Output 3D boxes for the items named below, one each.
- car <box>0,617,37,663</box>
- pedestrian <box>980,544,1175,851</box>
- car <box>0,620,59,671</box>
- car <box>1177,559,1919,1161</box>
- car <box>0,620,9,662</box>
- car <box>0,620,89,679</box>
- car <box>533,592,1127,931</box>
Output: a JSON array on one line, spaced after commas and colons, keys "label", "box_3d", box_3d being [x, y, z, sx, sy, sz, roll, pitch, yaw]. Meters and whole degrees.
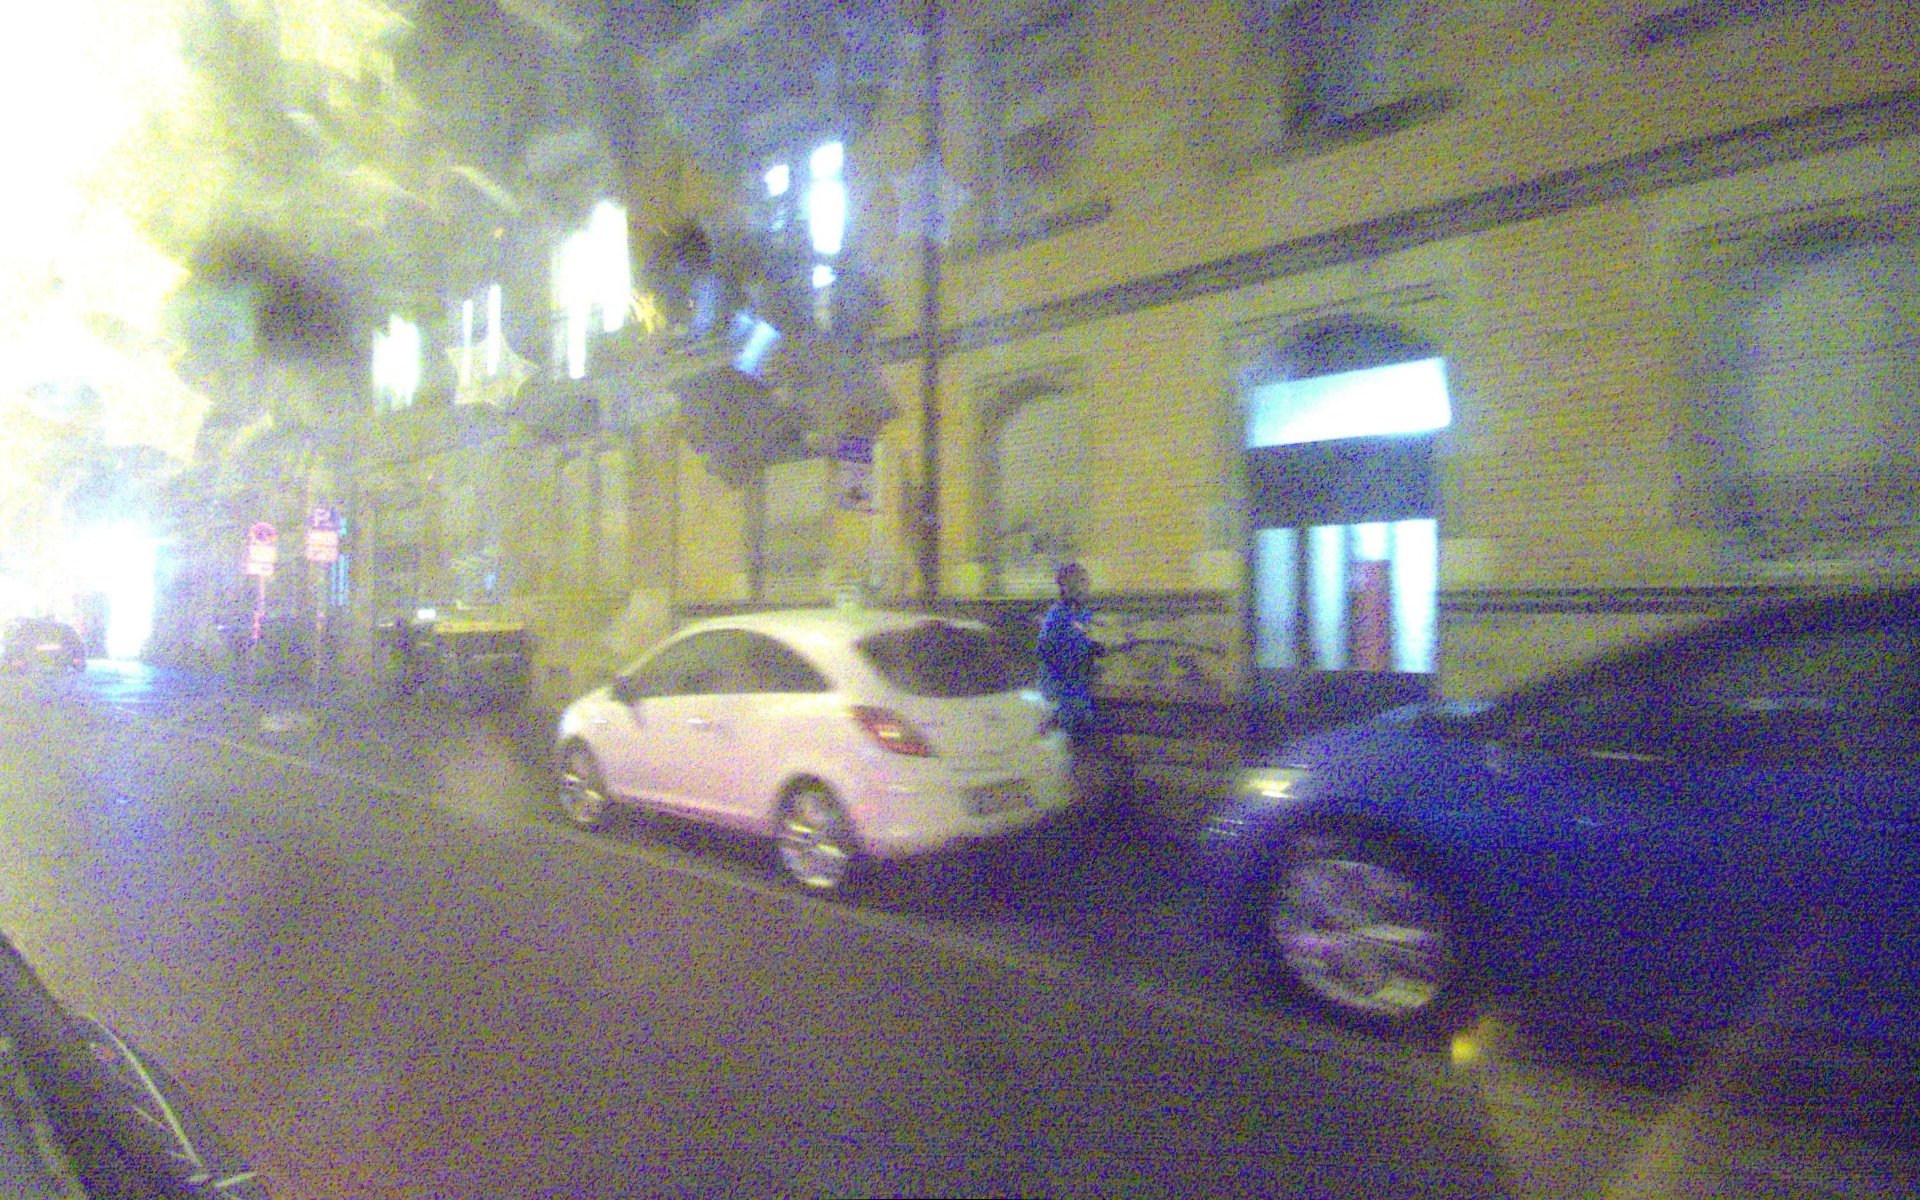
[{"label": "car", "box_3d": [-34.433, 1.421, 36.081, 3.733, 1.592, 1.828, -1, -1, 41]}, {"label": "pedestrian", "box_3d": [0.769, 0.595, 6.719, 1.078, 1.846, 0.667, -2, -1, 43]}, {"label": "car", "box_3d": [-30.045, 1.414, 32.024, 3.733, 1.489, 1.828, -1, -1, 41]}, {"label": "car", "box_3d": [2.958, 0.654, 3.142, 4.154, 1.490, 1.700, -1, -2, 38]}, {"label": "car", "box_3d": [-38.519, 1.596, 39.373, 3.733, 1.592, 1.828, -1, -1, 41]}, {"label": "car", "box_3d": [-25.850, 1.331, 28.237, 3.733, 1.489, 1.828, -1, -1, 41]}, {"label": "car", "box_3d": [-1.019, 0.743, 6.386, 3.786, 1.489, 1.697, -1, -1, 43]}]
